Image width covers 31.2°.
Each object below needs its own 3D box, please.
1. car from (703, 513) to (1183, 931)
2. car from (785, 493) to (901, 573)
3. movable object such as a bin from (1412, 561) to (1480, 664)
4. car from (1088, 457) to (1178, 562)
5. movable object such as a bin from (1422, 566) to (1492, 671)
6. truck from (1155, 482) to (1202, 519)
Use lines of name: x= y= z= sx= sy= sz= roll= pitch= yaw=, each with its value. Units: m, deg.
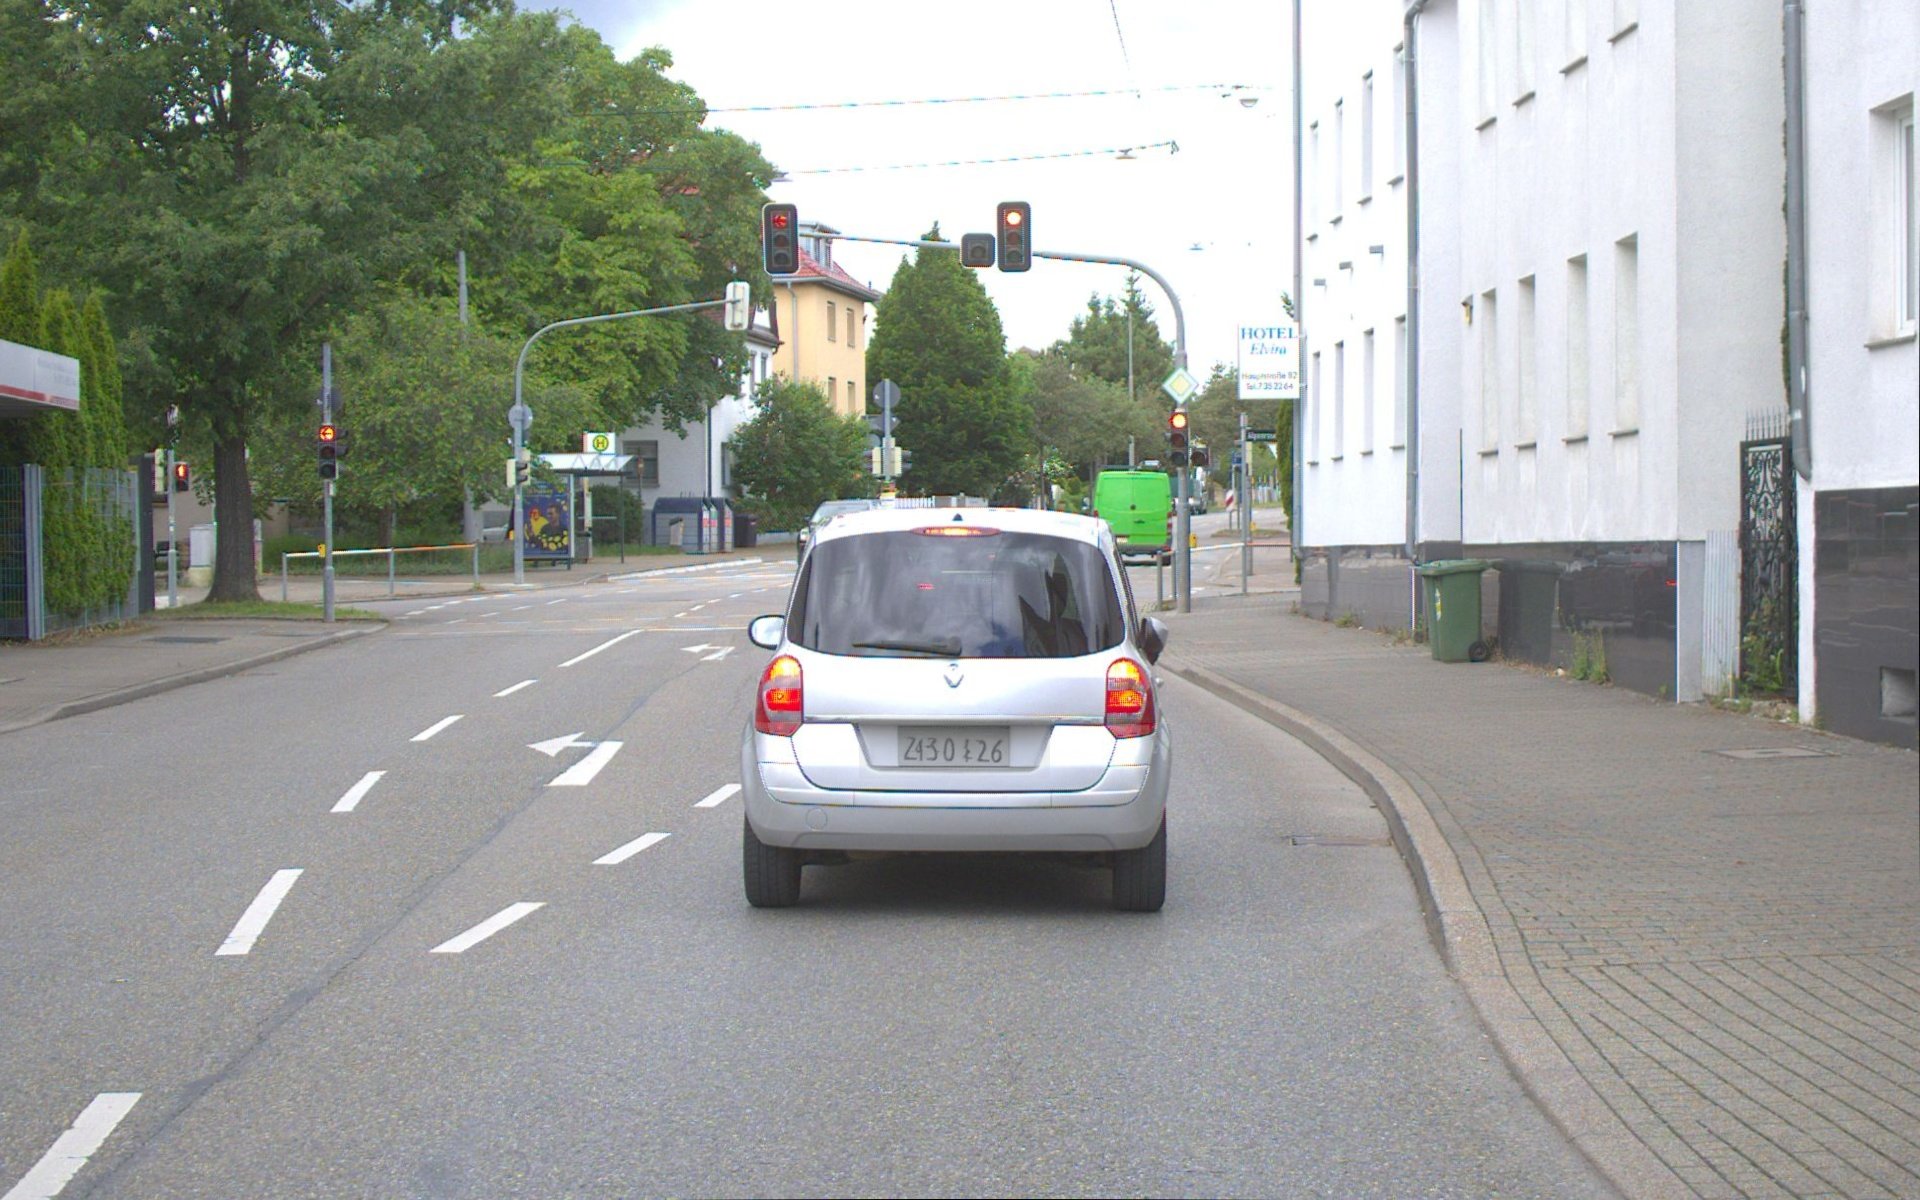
car: x=-0.082 y=0.413 z=14.716 sx=1.755 sy=1.525 sz=4.000 roll=1 pitch=1 yaw=-1
car: x=-2.811 y=-1.651 z=83.652 sx=1.927 sy=1.767 sz=3.999 roll=-4 pitch=1 yaw=10
movable object such as a bin: x=4.560 y=0.115 z=32.265 sx=0.540 sy=0.938 sz=0.487 roll=-2 pitch=1 yaw=0
car: x=4.360 y=-2.244 z=85.822 sx=2.059 sy=2.503 sz=5.595 roll=1 pitch=1 yaw=4
movable object such as a bin: x=4.588 y=0.164 z=31.729 sx=0.540 sy=0.938 sz=0.487 roll=-2 pitch=1 yaw=0
truck: x=12.459 y=-5.647 z=195.823 sx=2.102 sy=2.007 sz=5.745 roll=1 pitch=1 yaw=10
